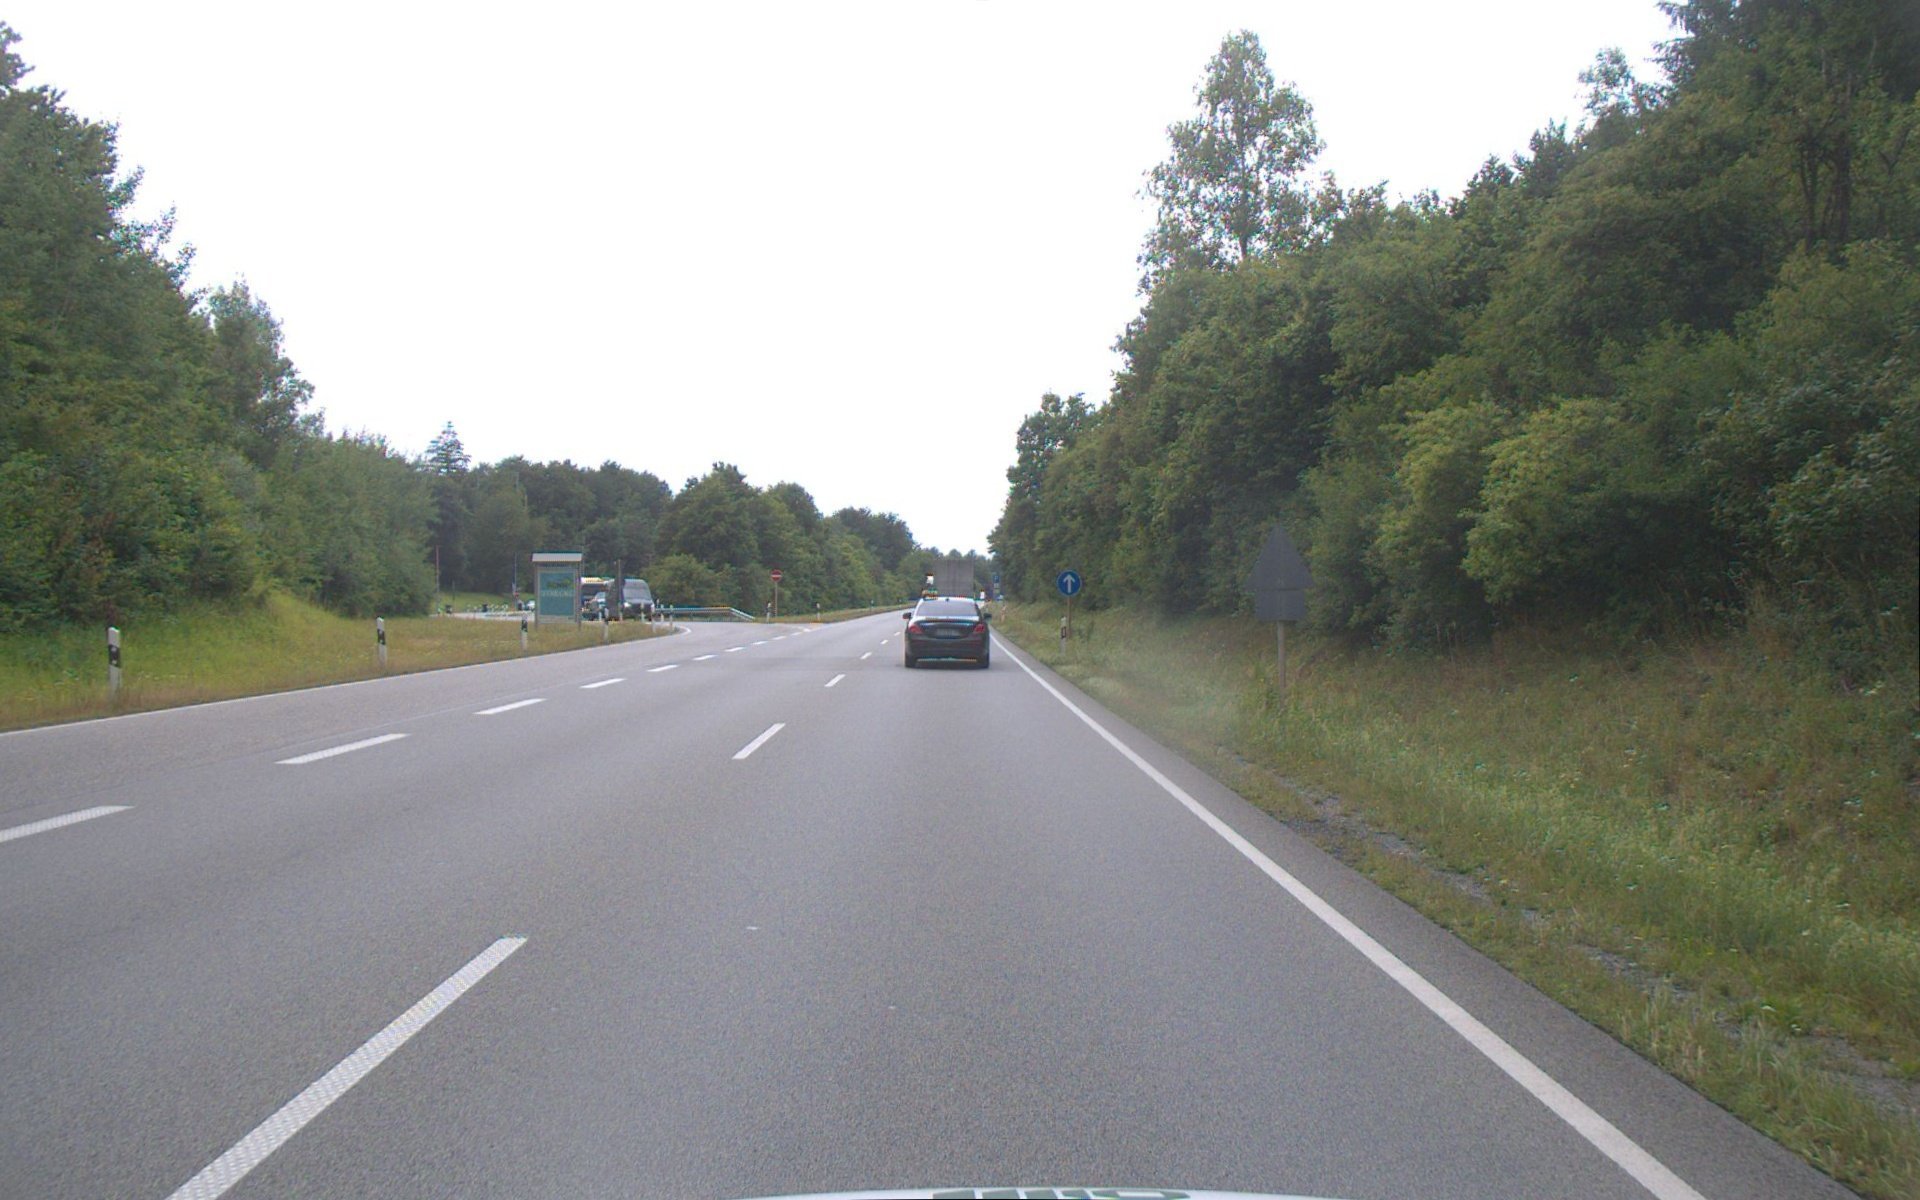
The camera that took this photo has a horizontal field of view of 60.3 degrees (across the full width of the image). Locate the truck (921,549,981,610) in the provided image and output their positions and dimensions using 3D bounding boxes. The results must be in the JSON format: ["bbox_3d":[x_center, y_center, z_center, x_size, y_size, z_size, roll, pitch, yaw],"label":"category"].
[{"bbox_3d":[-0.484,-1.228,107.151,3.212,3.675,11.404,1,0,3],"label":"truck"}]

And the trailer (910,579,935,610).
[{"bbox_3d":[-5.188,-0.765,230.794,3.138,4.138,14.271,1,0,0],"label":"trailer"}]

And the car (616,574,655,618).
[{"bbox_3d":[-20.336,-0.268,103.427,2.216,2.574,7.142,-2,0,-12],"label":"car"}]

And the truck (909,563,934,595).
[{"bbox_3d":[-5.193,-2.821,224.499,3.124,4.133,9.575,1,0,0],"label":"truck"}]

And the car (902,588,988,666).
[{"bbox_3d":[-0.336,0.552,35.911,1.755,1.579,3.999,1,0,-1],"label":"car"}]

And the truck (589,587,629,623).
[{"bbox_3d":[-30.636,0.440,144.622,1.953,3.065,7.226,1,0,0],"label":"truck"}]
